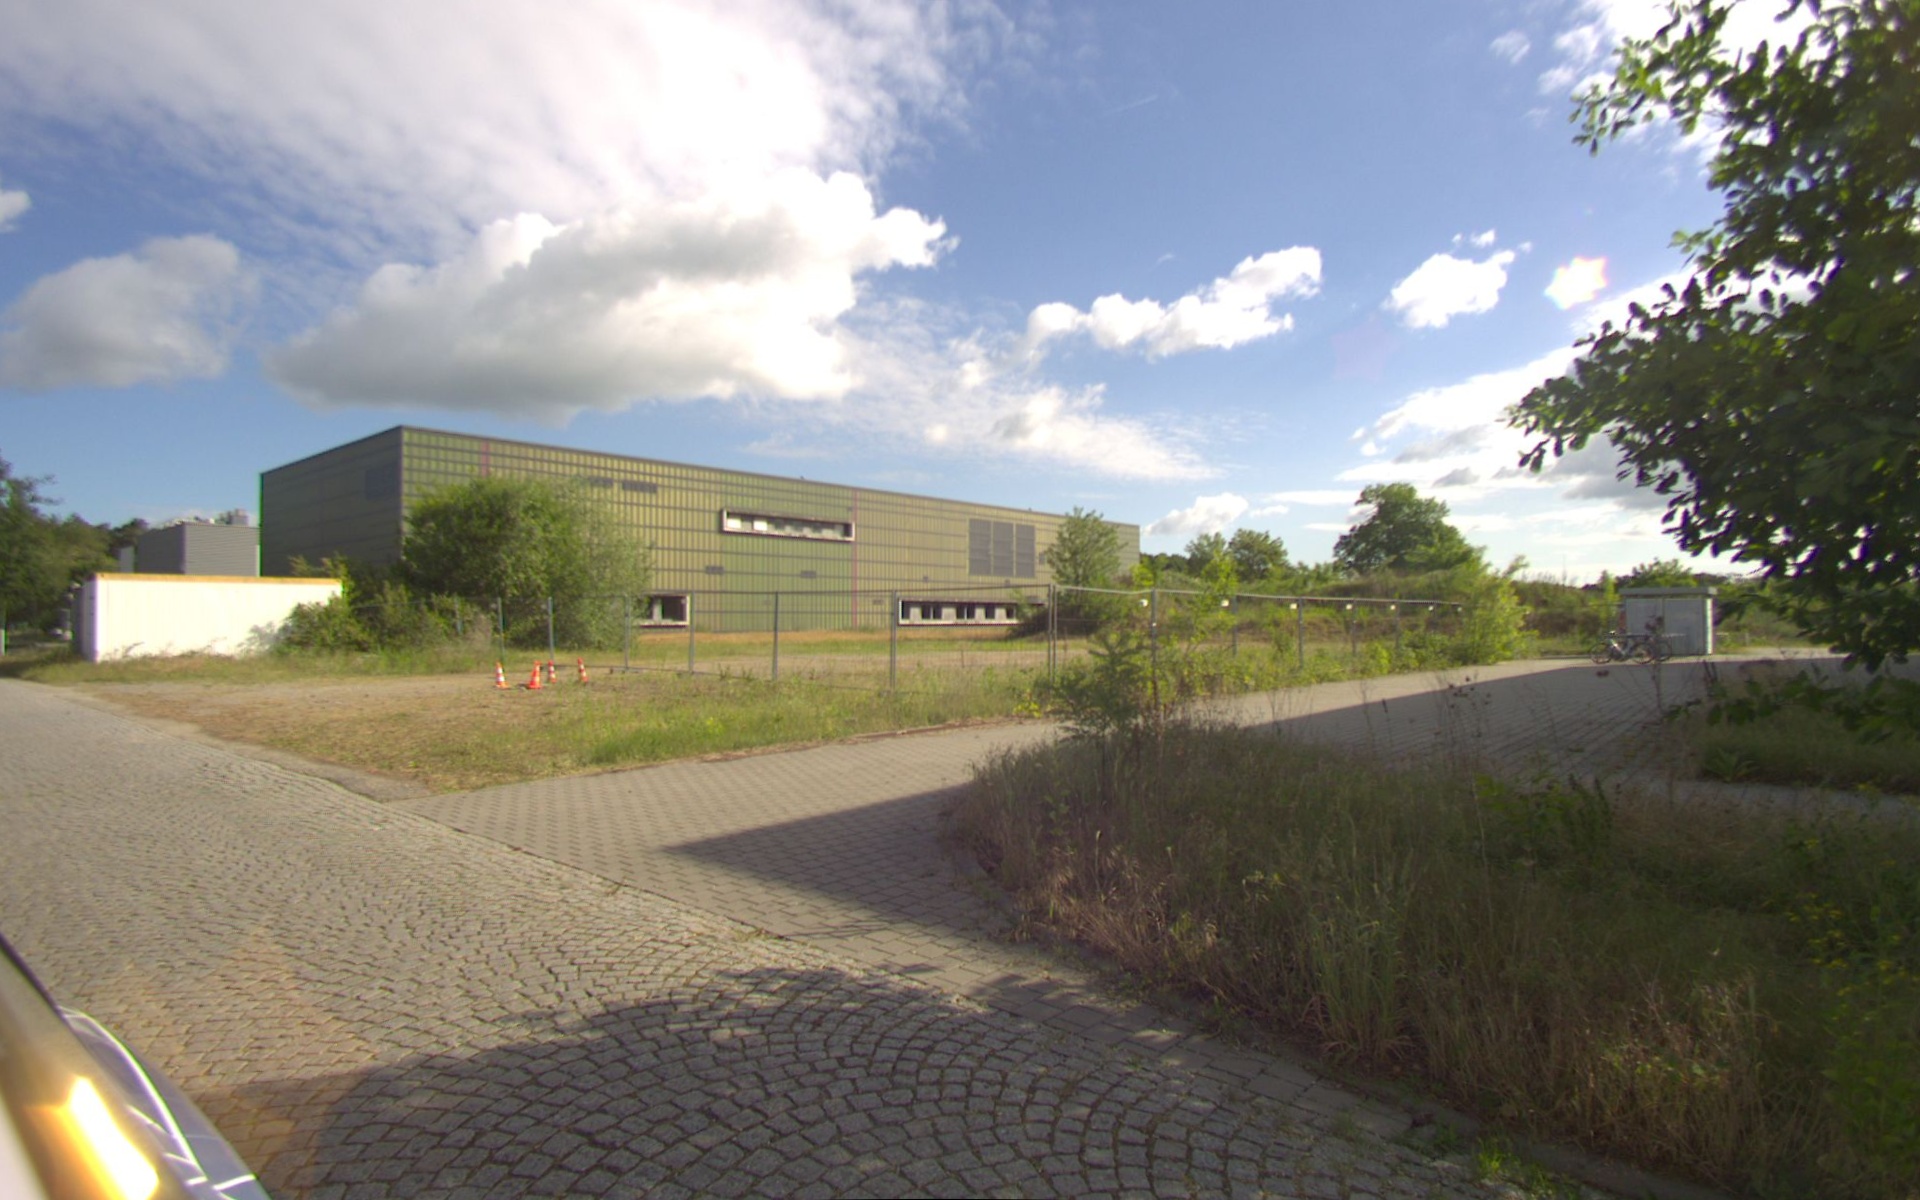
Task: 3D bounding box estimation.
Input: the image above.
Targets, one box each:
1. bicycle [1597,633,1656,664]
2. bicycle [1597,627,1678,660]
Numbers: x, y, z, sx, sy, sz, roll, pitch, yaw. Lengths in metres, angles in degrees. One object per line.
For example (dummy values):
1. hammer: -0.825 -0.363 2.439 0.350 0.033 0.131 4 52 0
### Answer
1. bicycle: 20.010 1.463 30.401 1.357 0.906 0.511 -4 -4 44
2. bicycle: 21.449 1.393 32.047 1.968 0.976 0.830 -5 -4 44
